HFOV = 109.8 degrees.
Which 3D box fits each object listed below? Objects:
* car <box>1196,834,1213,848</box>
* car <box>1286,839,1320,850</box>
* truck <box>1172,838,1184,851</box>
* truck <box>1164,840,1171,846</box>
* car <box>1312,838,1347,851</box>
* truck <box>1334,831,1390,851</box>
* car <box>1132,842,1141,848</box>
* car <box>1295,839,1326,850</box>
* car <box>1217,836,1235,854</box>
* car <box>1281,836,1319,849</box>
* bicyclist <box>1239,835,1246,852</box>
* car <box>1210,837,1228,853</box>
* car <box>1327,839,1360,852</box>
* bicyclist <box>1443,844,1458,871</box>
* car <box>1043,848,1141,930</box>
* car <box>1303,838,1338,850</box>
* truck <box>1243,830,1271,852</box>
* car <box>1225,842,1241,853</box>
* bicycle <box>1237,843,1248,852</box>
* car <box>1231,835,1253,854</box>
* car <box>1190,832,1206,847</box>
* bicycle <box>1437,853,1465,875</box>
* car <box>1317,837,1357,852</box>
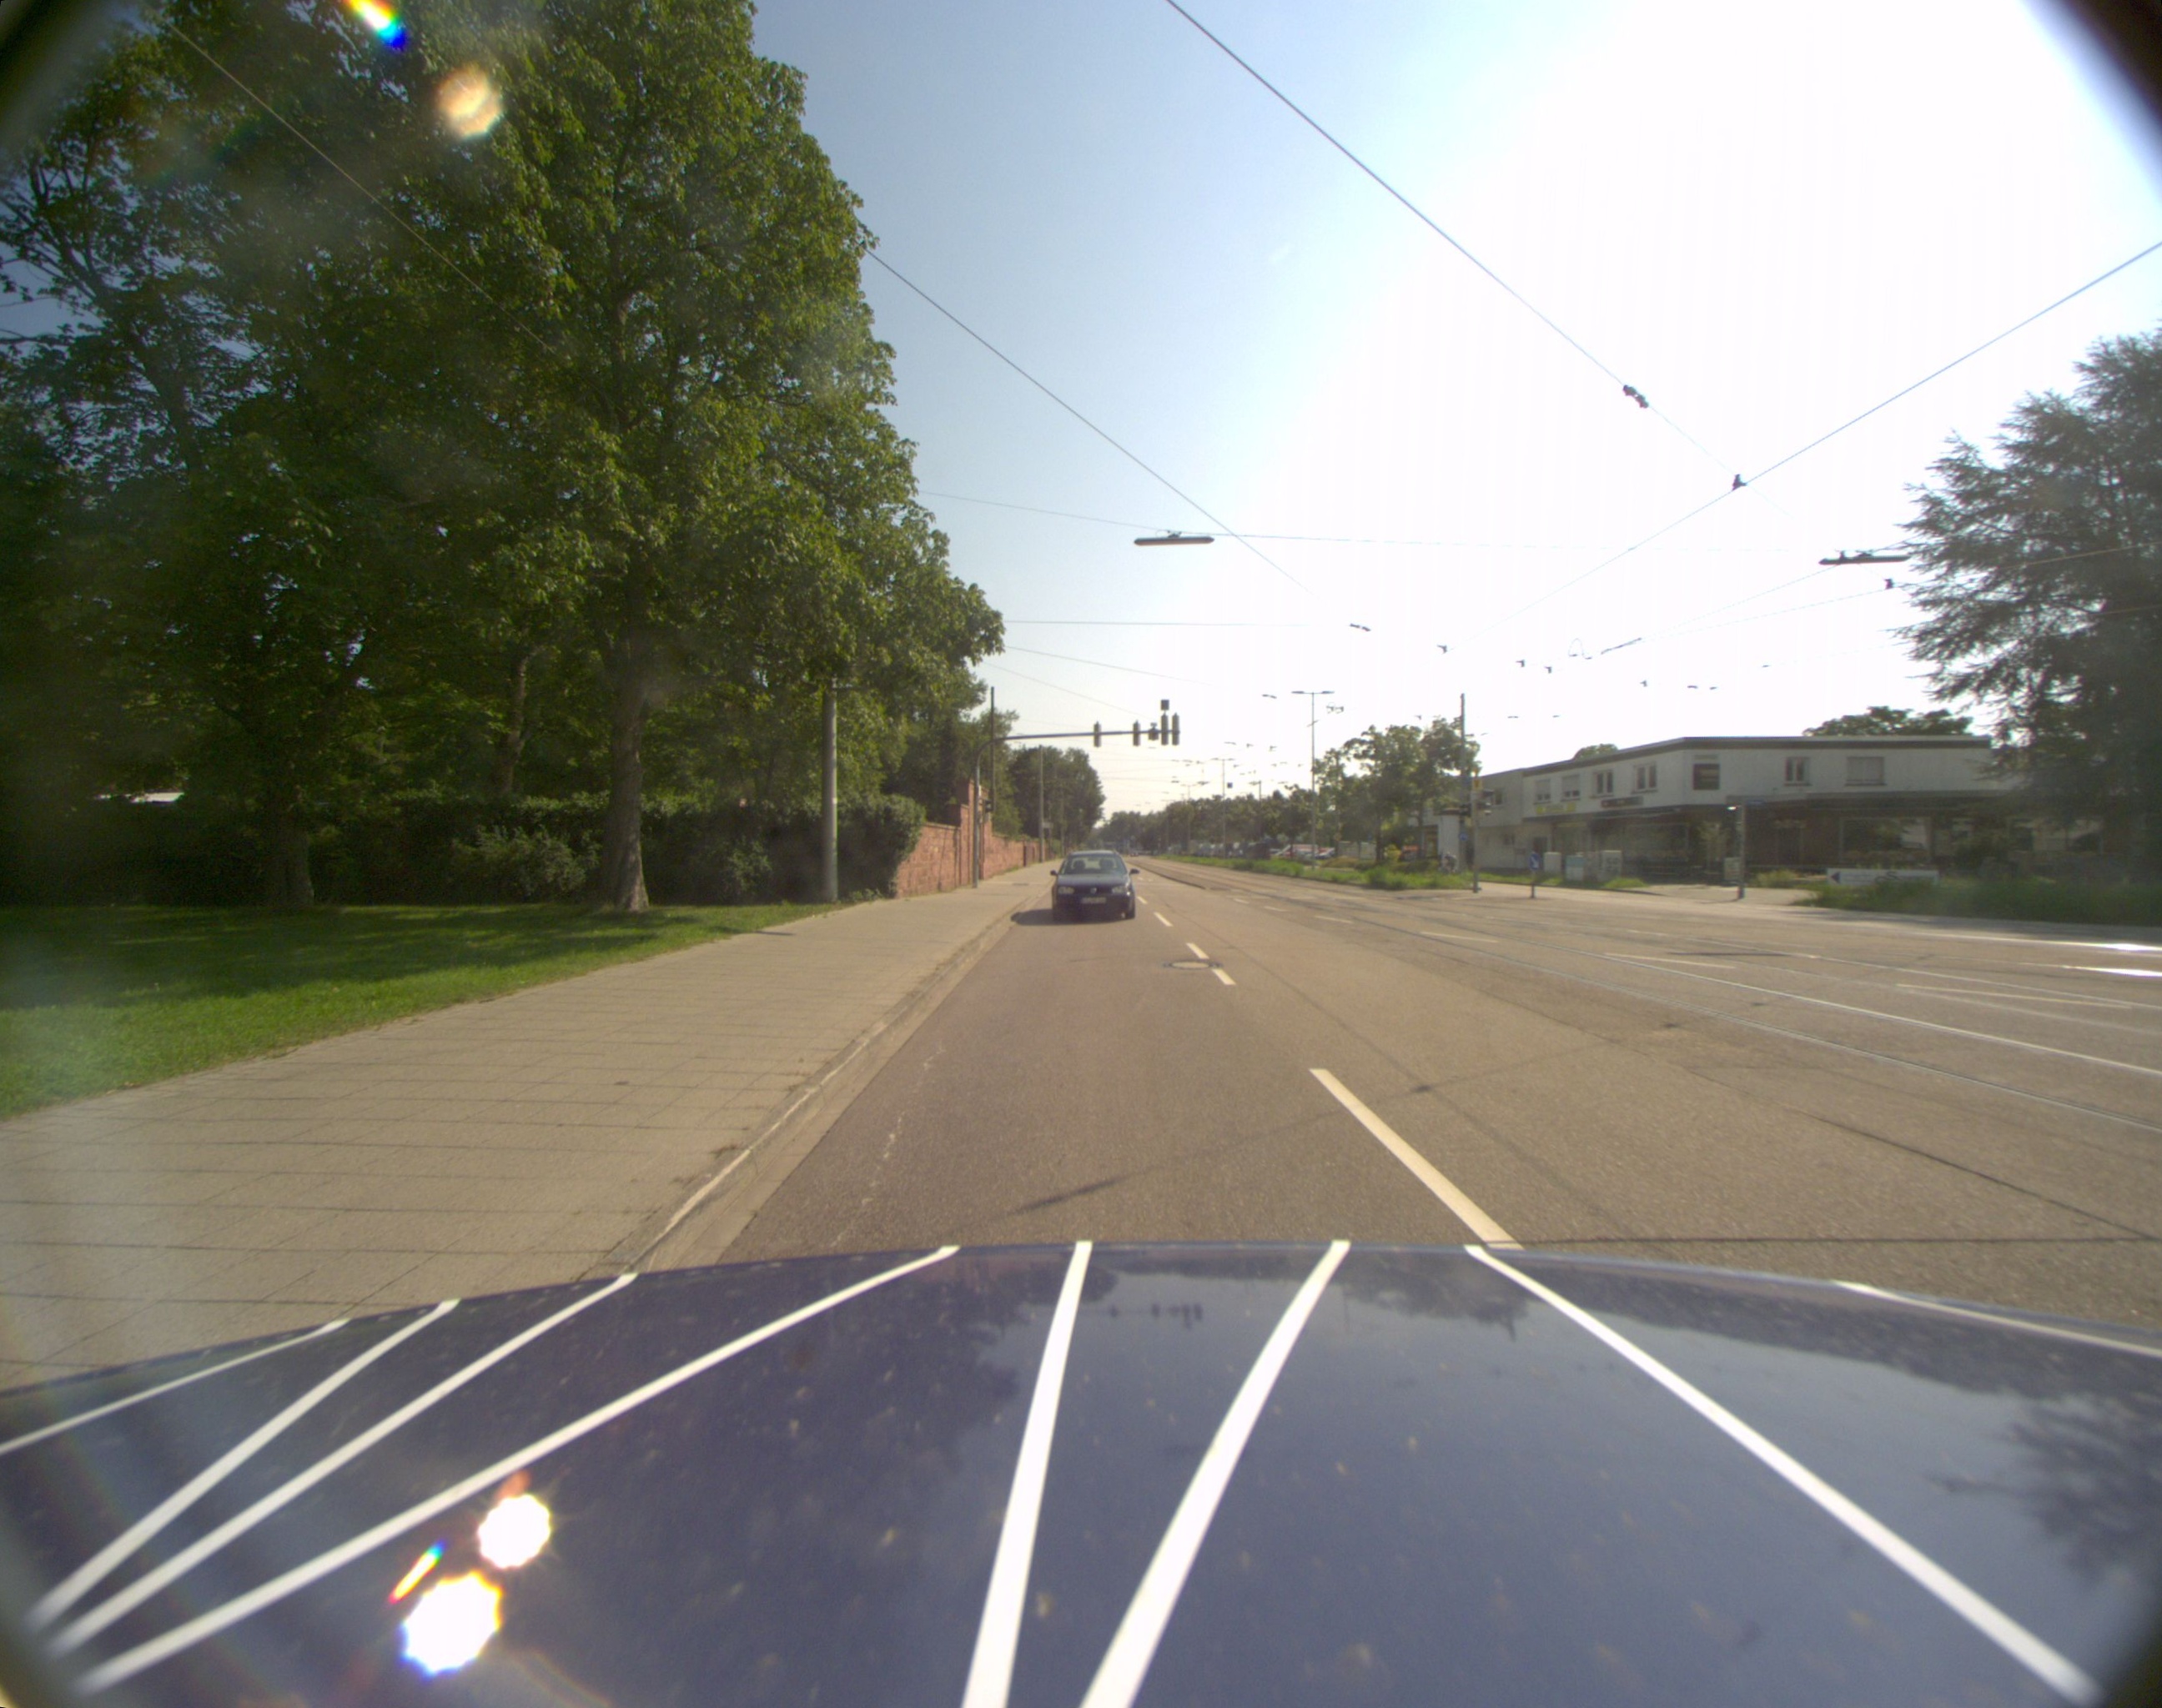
[{"bbox_3d":[22.412,-2.306,138.273,2.148,2.444,4.831,2,1,0],"label":"car"},{"bbox_3d":[33.308,-1.465,114.051,4.665,1.442,1.633,2,2,0],"label":"car"},{"bbox_3d":[24.386,-2.508,191.149,2.278,3.104,8.787,2,1,4],"label":"truck"},{"bbox_3d":[25.158,-3.166,221.525,1.691,1.665,3.655,2,1,2],"label":"truck"},{"bbox_3d":[32.109,-1.262,98.276,3.933,1.510,1.633,2,2,0],"label":"car"},{"bbox_3d":[32.484,-1.502,87.997,5.503,2.160,2.259,2,2,0],"label":"truck"},{"bbox_3d":[13.276,-2.065,181.950,1.726,1.317,3.999,2,1,1],"label":"car"},{"bbox_3d":[32.820,-1.362,108.678,3.933,1.442,1.633,2,2,0],"label":"car"},{"bbox_3d":[22.119,-1.381,115.779,1.826,2.571,5.910,-1,1,3],"label":"car"},{"bbox_3d":[33.672,-1.804,117.026,5.198,1.915,2.052,2,2,0],"label":"car"},{"bbox_3d":[19.674,-1.302,92.611,0.639,2.052,0.774,1,2,-5],"label":"bicyclist"},{"bbox_3d":[22.480,-1.496,123.918,2.137,2.571,5.630,2,1,2],"label":"car"},{"bbox_3d":[31.881,-1.039,92.404,3.413,1.418,1.633,2,1,0],"label":"car"},{"bbox_3d":[20.647,0.188,42.477,0.569,1.514,0.490,2,2,3],"label":"bicyclist"},{"bbox_3d":[0.289,0.640,16.015,1.776,1.416,3.935,-2,1,3],"label":"car"},{"bbox_3d":[32.349,-1.334,102.564,4.168,1.455,1.624,1,1,-3],"label":"car"},{"bbox_3d":[21.582,-1.584,93.526,2.086,2.533,5.738,2,1,1],"label":"truck"},{"bbox_3d":[21.950,-1.015,109.860,1.748,1.543,3.834,0,1,4],"label":"car"},{"bbox_3d":[19.679,-0.839,92.672,0.717,1.085,2.263,1,1,-6],"label":"bicycle"},{"bbox_3d":[21.889,-1.331,103.456,1.993,2.571,6.467,-1,1,3],"label":"car"},{"bbox_3d":[22.776,-2.760,147.805,2.129,2.789,7.230,2,1,2],"label":"car"},{"bbox_3d":[20.639,0.542,42.411,0.576,1.172,2.208,2,0,3],"label":"bicycle"},{"bbox_3d":[32.230,-1.166,95.661,4.409,1.775,1.633,2,2,0],"label":"car"}]
